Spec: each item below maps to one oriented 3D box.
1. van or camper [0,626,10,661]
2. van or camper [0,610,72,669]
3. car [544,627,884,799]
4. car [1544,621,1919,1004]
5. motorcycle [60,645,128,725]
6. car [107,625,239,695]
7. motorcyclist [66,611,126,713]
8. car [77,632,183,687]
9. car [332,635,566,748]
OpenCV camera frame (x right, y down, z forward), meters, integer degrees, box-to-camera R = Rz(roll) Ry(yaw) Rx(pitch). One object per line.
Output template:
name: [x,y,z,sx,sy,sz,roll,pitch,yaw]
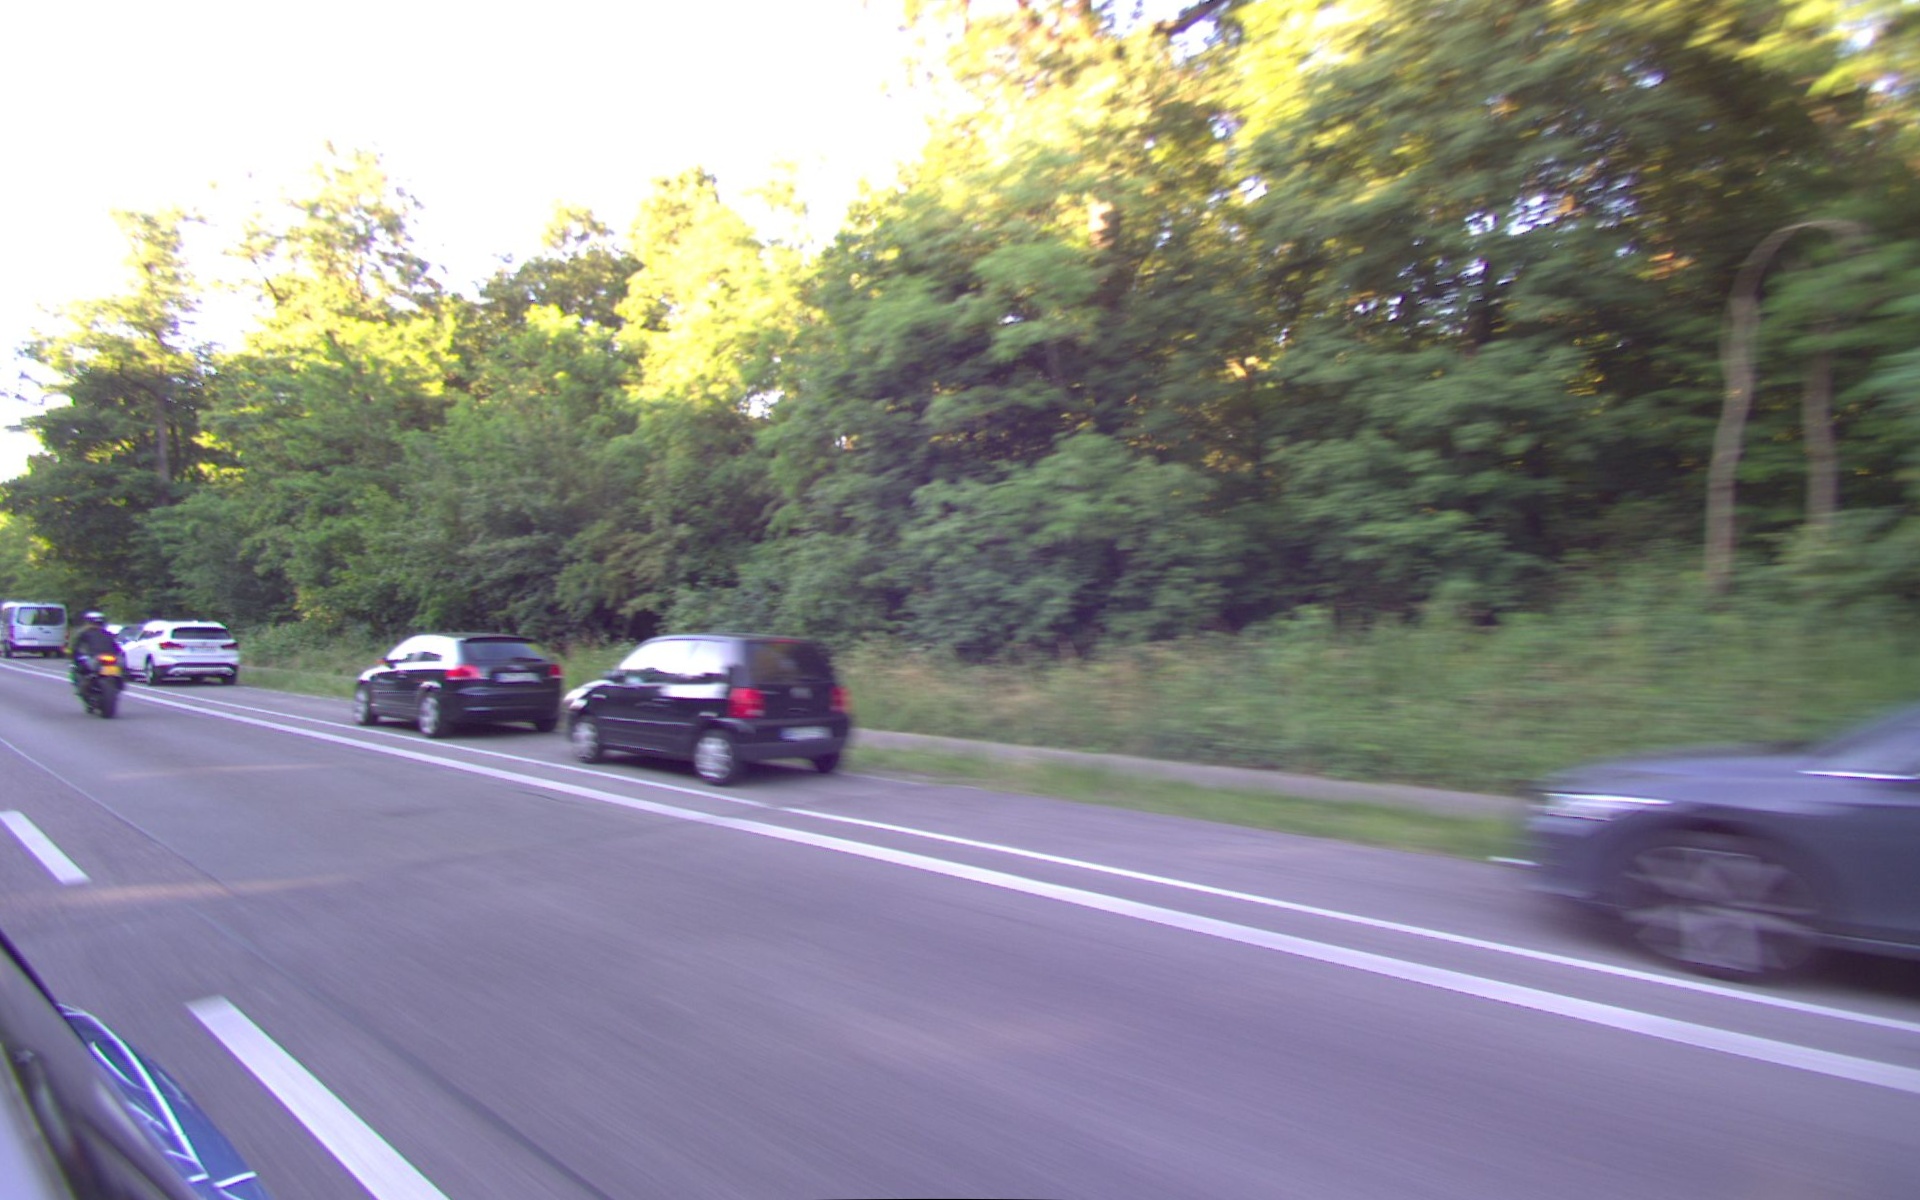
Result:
van or camper: [-55.685,2.425,57.307,4.687,1.971,2.009,-1,-5,39]
van or camper: [-41.169,1.754,44.506,6.376,2.409,2.089,-1,-4,40]
car: [-2.711,1.067,10.817,3.654,1.520,1.694,-1,-3,40]
car: [4.939,0.845,4.108,4.224,1.474,1.827,-1,-4,39]
motorcycle: [-13.565,1.296,15.837,1.962,1.135,0.604,-2,-2,44]
car: [-20.419,1.510,26.194,4.568,1.658,1.678,-1,-3,39]
motorcyclist: [-13.534,0.955,15.851,0.995,1.541,0.597,-2,-2,43]
car: [-24.338,1.705,29.636,3.732,1.532,1.655,-1,-3,39]
car: [-7.480,1.218,14.653,4.049,1.405,1.581,-1,-3,41]
